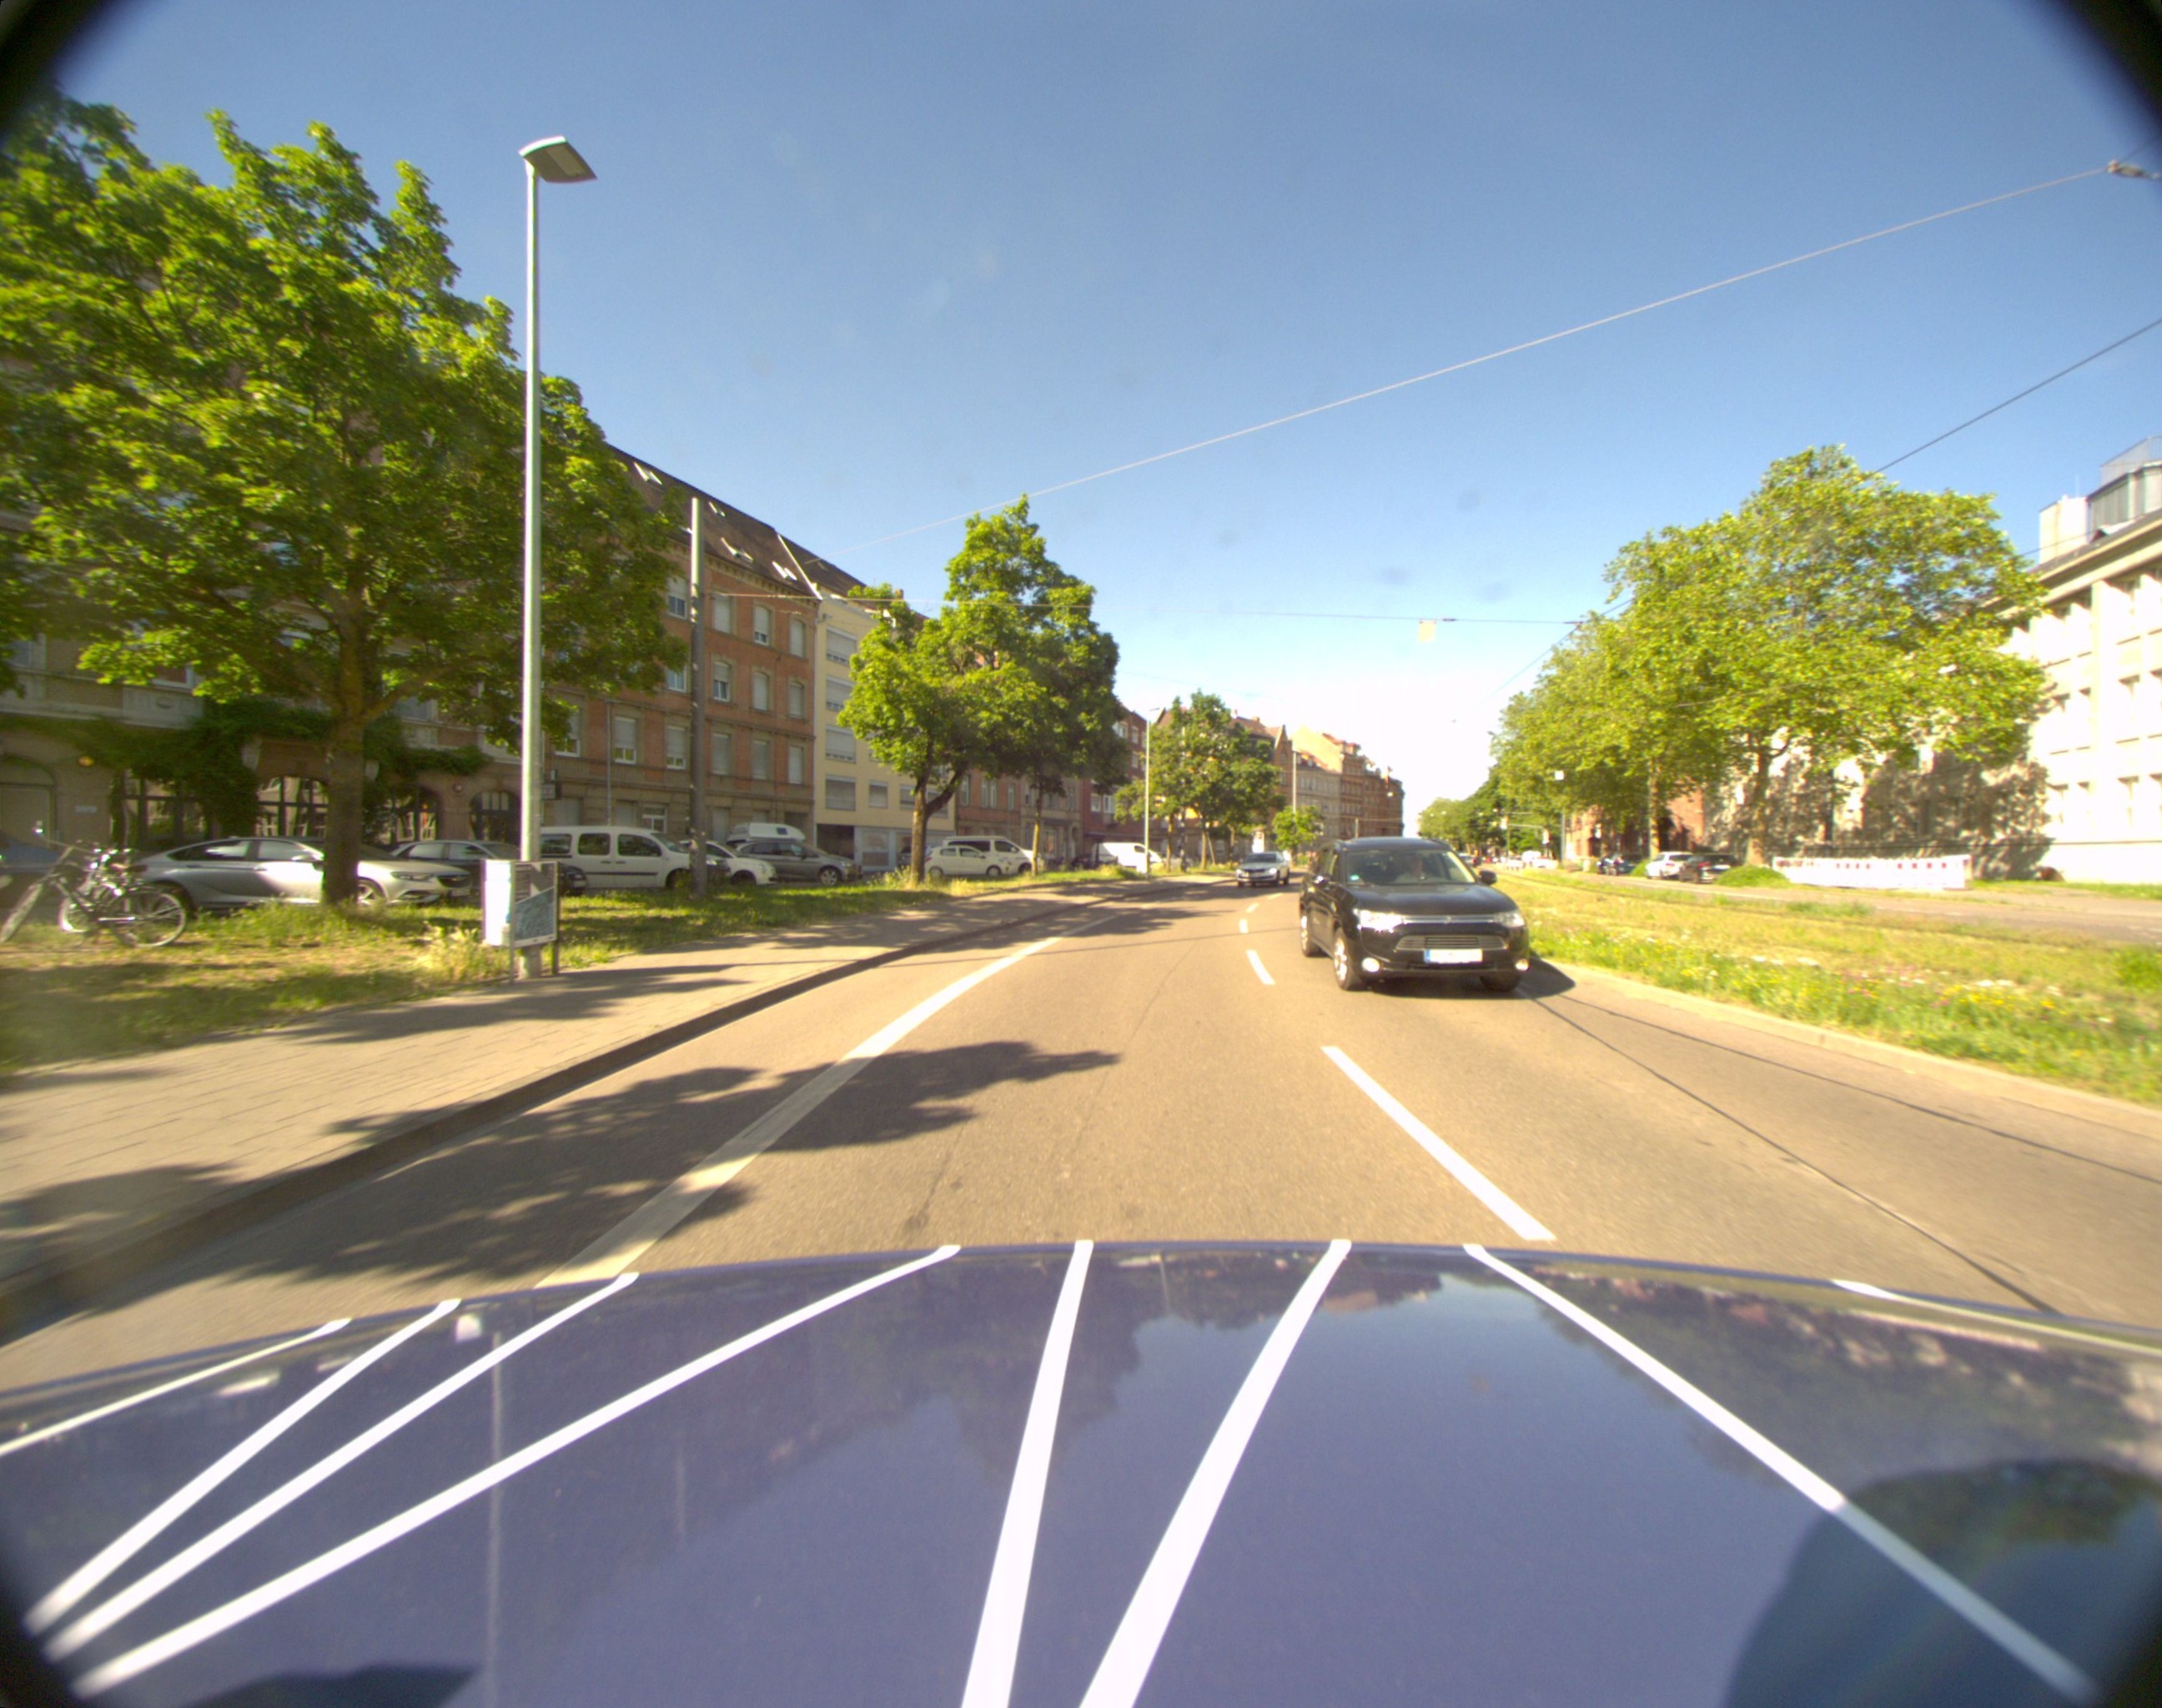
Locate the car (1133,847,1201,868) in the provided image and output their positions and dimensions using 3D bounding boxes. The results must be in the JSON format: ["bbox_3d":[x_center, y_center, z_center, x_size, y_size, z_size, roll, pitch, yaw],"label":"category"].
[{"bbox_3d":[6.637,0.263,58.883,4.880,1.426,2.019,2,1,-8],"label":"car"}]

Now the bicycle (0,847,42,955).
[{"bbox_3d":[-13.201,0.528,8.896,1.958,1.185,0.843,2,1,25],"label":"bicycle"}]

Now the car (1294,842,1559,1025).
[{"bbox_3d":[3.830,0.716,9.361,1.839,1.672,4.646,-1,1,10],"label":"car"}]

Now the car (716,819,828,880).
[{"bbox_3d":[-14.024,-0.177,34.776,1.994,2.570,4.521,2,1,26],"label":"car"}]

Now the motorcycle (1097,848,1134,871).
[{"bbox_3d":[2.262,0.353,49.496,2.265,1.412,0.853,1,1,-24],"label":"motorcycle"}]

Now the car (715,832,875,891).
[{"bbox_3d":[-9.281,0.229,24.967,4.511,1.718,1.999,2,2,-4],"label":"car"}]

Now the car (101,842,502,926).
[{"bbox_3d":[-13.671,0.489,13.685,4.752,1.372,2.044,0,0,-8],"label":"car"}]

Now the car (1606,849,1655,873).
[{"bbox_3d":[38.462,0.467,53.278,1.831,1.629,4.403,0,0,23],"label":"car"}]

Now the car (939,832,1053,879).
[{"bbox_3d":[-3.967,0.047,36.026,5.185,2.001,2.099,2,2,-4],"label":"car"}]

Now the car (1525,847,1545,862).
[{"bbox_3d":[64.787,0.014,108.463,1.917,2.084,4.600,0,0,24],"label":"car"}]

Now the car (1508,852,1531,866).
[{"bbox_3d":[45.296,0.500,78.589,1.831,1.445,4.178,1,1,27],"label":"car"}]

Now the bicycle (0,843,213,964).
[{"bbox_3d":[-11.288,0.539,8.700,1.600,1.282,0.768,1,1,-25],"label":"bicycle"}]

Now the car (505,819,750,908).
[{"bbox_3d":[-11.262,0.224,19.247,4.881,2.001,2.098,2,2,-9],"label":"car"}]

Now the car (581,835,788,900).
[{"bbox_3d":[-11.345,0.351,22.069,4.879,1.638,2.099,2,1,-4],"label":"car"}]

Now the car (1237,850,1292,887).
[{"bbox_3d":[8.697,0.616,35.700,1.798,1.626,4.401,0,1,23],"label":"car"}]

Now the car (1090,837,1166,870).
[{"bbox_3d":[3.198,-0.021,52.255,4.881,2.063,2.019,2,1,-9],"label":"car"}]

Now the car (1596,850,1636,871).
[{"bbox_3d":[41.346,0.489,58.814,1.673,1.539,4.195,0,1,23],"label":"car"}]

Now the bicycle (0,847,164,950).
[{"bbox_3d":[-12.870,0.519,9.763,1.945,1.174,0.901,2,2,24],"label":"bicycle"}]

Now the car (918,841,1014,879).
[{"bbox_3d":[-4.998,0.245,33.194,4.030,1.470,1.811,2,2,-8],"label":"car"}]

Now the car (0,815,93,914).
[{"bbox_3d":[-22.876,0.172,14.389,1.994,1.966,4.733,2,1,25],"label":"car"}]

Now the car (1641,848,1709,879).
[{"bbox_3d":[33.398,0.495,42.847,1.831,1.578,4.403,1,1,22],"label":"car"}]

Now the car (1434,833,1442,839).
[{"bbox_3d":[93.678,-4.635,199.456,1.794,1.421,4.384,0,0,25],"label":"car"}]

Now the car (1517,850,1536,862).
[{"bbox_3d":[61.172,0.252,104.379,1.792,1.543,3.867,0,0,25],"label":"car"}]

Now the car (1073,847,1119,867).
[{"bbox_3d":[1.339,0.225,65.957,1.995,1.465,4.497,-5,0,28],"label":"car"}]

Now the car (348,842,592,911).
[{"bbox_3d":[-13.027,0.454,16.433,3.614,1.372,1.924,0,0,-8],"label":"car"}]

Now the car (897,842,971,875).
[{"bbox_3d":[-8.711,0.264,45.410,1.995,1.789,4.635,2,1,25],"label":"car"}]

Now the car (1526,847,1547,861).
[{"bbox_3d":[59.699,0.013,99.598,1.776,1.564,3.684,1,-2,23],"label":"car"}]

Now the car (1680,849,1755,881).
[{"bbox_3d":[30.765,0.494,36.836,1.831,1.484,4.189,0,0,26],"label":"car"}]

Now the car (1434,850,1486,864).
[{"bbox_3d":[42.704,0.306,85.642,1.839,1.445,4.947,0,1,-34],"label":"car"}]
